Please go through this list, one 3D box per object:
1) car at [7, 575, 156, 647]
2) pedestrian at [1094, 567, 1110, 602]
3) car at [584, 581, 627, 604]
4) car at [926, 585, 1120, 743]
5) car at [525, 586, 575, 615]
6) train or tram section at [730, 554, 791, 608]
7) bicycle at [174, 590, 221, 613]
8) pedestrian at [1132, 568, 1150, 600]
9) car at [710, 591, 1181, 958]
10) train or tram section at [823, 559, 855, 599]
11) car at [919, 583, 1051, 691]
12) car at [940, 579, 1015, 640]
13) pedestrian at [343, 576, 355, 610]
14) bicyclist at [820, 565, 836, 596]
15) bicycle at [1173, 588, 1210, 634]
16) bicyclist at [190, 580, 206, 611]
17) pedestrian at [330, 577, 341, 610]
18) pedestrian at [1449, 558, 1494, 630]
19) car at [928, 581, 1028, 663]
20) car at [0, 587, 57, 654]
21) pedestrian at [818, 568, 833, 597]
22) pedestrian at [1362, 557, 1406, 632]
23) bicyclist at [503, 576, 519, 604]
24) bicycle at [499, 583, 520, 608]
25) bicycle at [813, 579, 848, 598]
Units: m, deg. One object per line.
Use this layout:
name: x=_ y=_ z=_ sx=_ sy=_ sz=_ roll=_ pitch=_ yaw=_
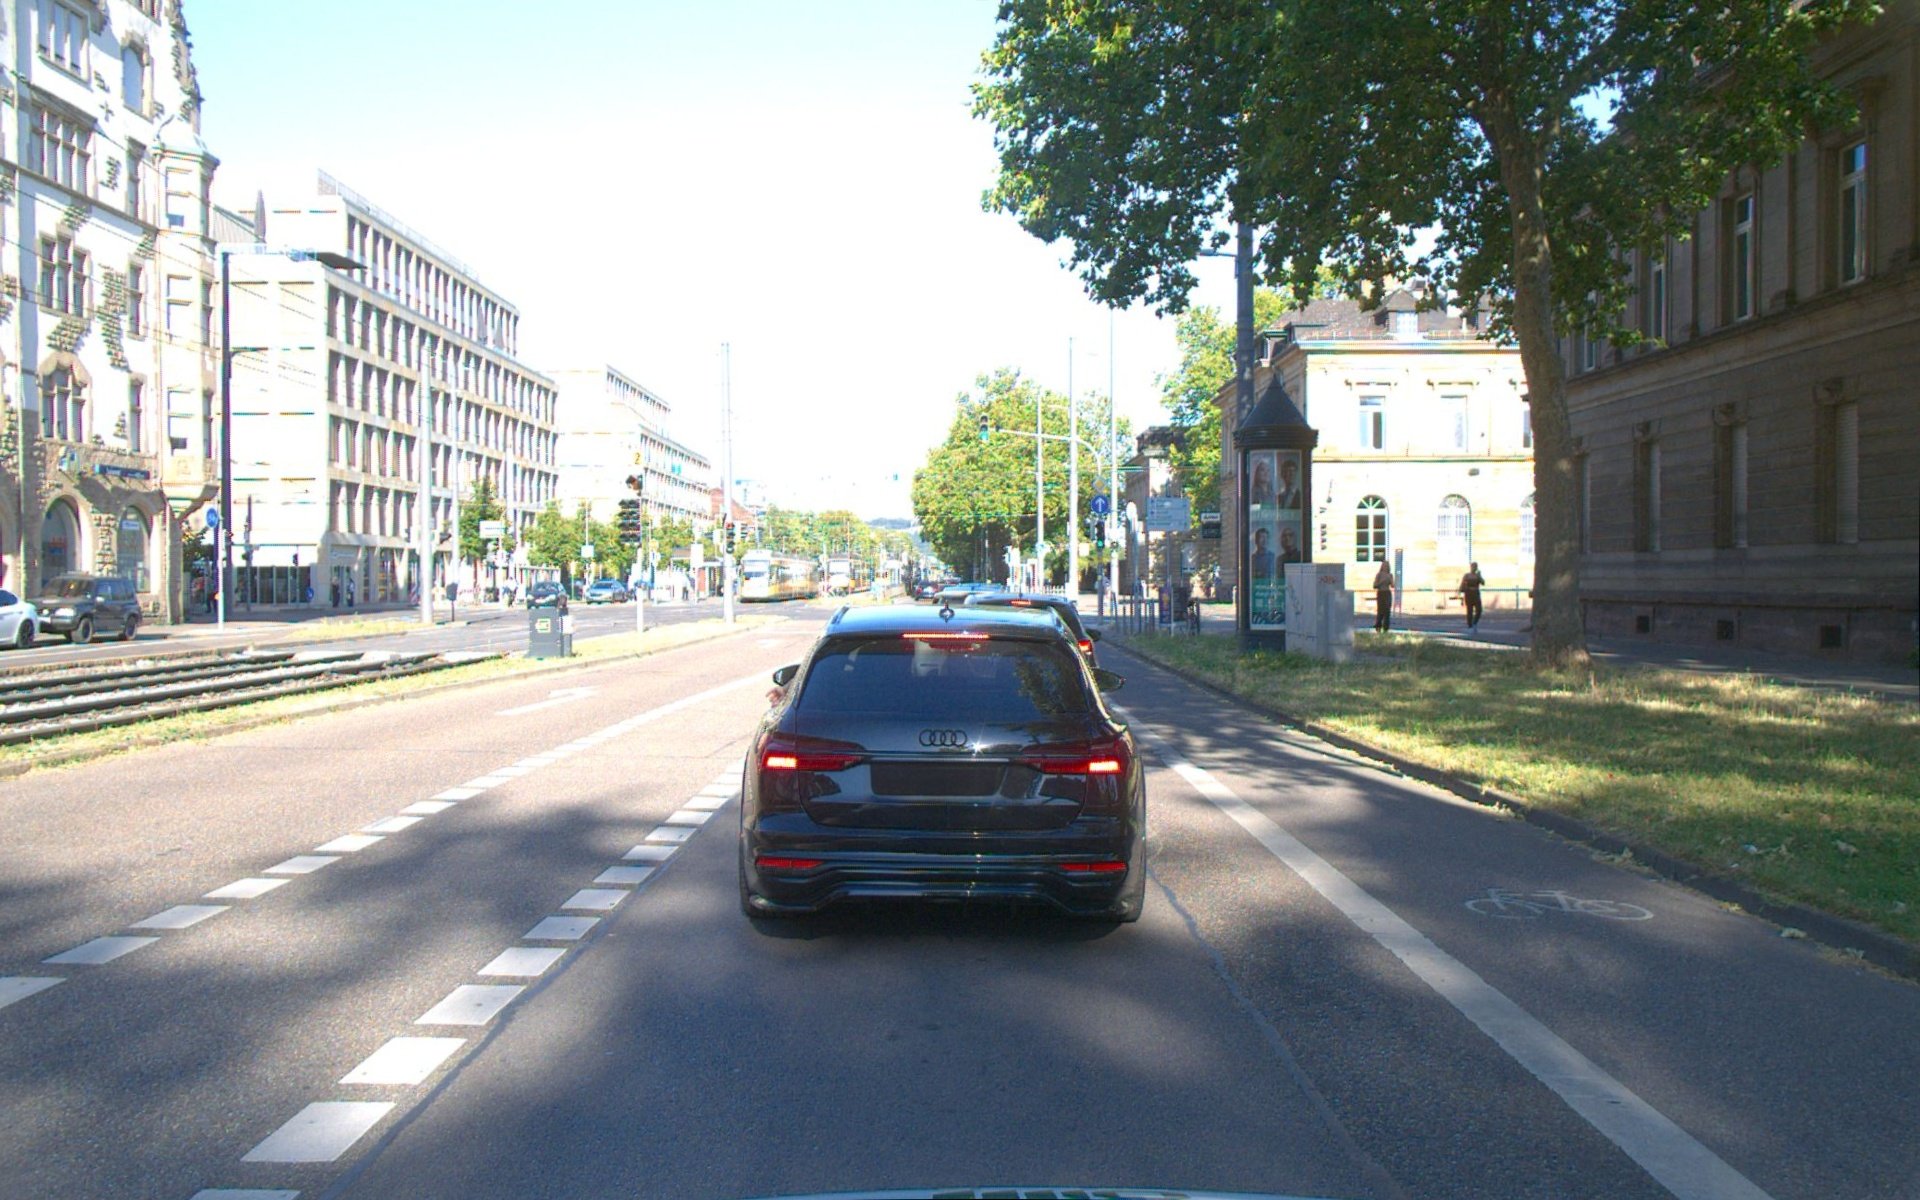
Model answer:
car: x=-22.544 y=0.246 z=42.614 sx=1.682 sy=1.704 sz=4.215 roll=2 pitch=1 yaw=-2
pedestrian: x=7.034 y=-0.766 z=81.783 sx=0.668 sy=1.689 sz=0.758 roll=-1 pitch=1 yaw=-2
car: x=-23.069 y=-0.509 z=107.799 sx=1.782 sy=1.482 sz=4.541 roll=-1 pitch=1 yaw=1
car: x=0.612 y=0.615 z=18.148 sx=1.864 sy=1.512 sz=4.144 roll=1 pitch=0 yaw=0
car: x=-21.862 y=-0.003 z=88.285 sx=1.783 sy=1.482 sz=4.164 roll=-1 pitch=1 yaw=-3
train or tram section: x=-13.879 y=-1.375 z=116.129 sx=2.755 sy=3.550 sz=13.203 roll=-1 pitch=1 yaw=0
bicycle: x=-43.298 y=0.084 z=93.929 sx=2.333 sy=1.236 sz=0.577 roll=-1 pitch=0 yaw=-1
pedestrian: x=10.810 y=-0.988 z=98.979 sx=0.959 sy=1.898 sz=0.826 roll=-1 pitch=1 yaw=-1
car: x=-0.055 y=0.691 z=8.674 sx=1.864 sy=1.446 sz=4.144 roll=1 pitch=0 yaw=0
train or tram section: x=-11.036 y=-1.941 z=151.465 sx=2.556 sy=3.511 sz=11.128 roll=-1 pitch=1 yaw=-2
car: x=0.354 y=0.519 z=25.466 sx=1.864 sy=1.512 sz=4.144 roll=1 pitch=0 yaw=0
car: x=0.446 y=0.228 z=43.794 sx=1.864 sy=1.512 sz=4.144 roll=1 pitch=0 yaw=0
pedestrian: x=-34.629 y=-0.398 z=93.754 sx=0.527 sy=1.875 sz=0.437 roll=-1 pitch=0 yaw=-39
bicyclist: x=-7.879 y=-1.172 z=98.825 sx=0.747 sy=1.850 sz=0.758 roll=-1 pitch=1 yaw=-26
bicycle: x=5.562 y=0.249 z=39.836 sx=0.529 sy=1.080 sz=1.770 roll=-1 pitch=1 yaw=-4
bicyclist: x=-43.258 y=-0.254 z=93.921 sx=0.628 sy=1.715 sz=0.577 roll=-1 pitch=0 yaw=-1
pedestrian: x=-35.294 y=-0.352 z=93.478 sx=0.468 sy=1.875 sz=0.437 roll=-1 pitch=0 yaw=-39
pedestrian: x=11.916 y=-0.140 z=38.563 sx=0.753 sy=1.634 sz=0.986 roll=-1 pitch=0 yaw=1
car: x=0.345 y=0.408 z=33.148 sx=1.864 sy=1.512 sz=4.144 roll=1 pitch=0 yaw=0
car: x=-22.452 y=0.462 z=37.319 sx=1.682 sy=1.448 sz=4.654 roll=2 pitch=1 yaw=-2
pedestrian: x=-8.167 y=-1.047 z=100.358 sx=0.729 sy=1.772 sz=0.659 roll=-1 pitch=1 yaw=-22
pedestrian: x=9.946 y=-0.132 z=38.807 sx=0.753 sy=1.739 sz=1.042 roll=-1 pitch=0 yaw=1
bicyclist: x=-26.108 y=-0.601 z=96.178 sx=0.671 sy=1.590 sz=0.785 roll=-1 pitch=0 yaw=1
bicycle: x=-26.172 y=-0.271 z=96.075 sx=0.671 sy=1.406 sz=1.947 roll=-1 pitch=1 yaw=1
bicycle: x=-7.749 y=-0.701 z=98.915 sx=1.981 sy=1.127 sz=0.758 roll=-1 pitch=1 yaw=-26
